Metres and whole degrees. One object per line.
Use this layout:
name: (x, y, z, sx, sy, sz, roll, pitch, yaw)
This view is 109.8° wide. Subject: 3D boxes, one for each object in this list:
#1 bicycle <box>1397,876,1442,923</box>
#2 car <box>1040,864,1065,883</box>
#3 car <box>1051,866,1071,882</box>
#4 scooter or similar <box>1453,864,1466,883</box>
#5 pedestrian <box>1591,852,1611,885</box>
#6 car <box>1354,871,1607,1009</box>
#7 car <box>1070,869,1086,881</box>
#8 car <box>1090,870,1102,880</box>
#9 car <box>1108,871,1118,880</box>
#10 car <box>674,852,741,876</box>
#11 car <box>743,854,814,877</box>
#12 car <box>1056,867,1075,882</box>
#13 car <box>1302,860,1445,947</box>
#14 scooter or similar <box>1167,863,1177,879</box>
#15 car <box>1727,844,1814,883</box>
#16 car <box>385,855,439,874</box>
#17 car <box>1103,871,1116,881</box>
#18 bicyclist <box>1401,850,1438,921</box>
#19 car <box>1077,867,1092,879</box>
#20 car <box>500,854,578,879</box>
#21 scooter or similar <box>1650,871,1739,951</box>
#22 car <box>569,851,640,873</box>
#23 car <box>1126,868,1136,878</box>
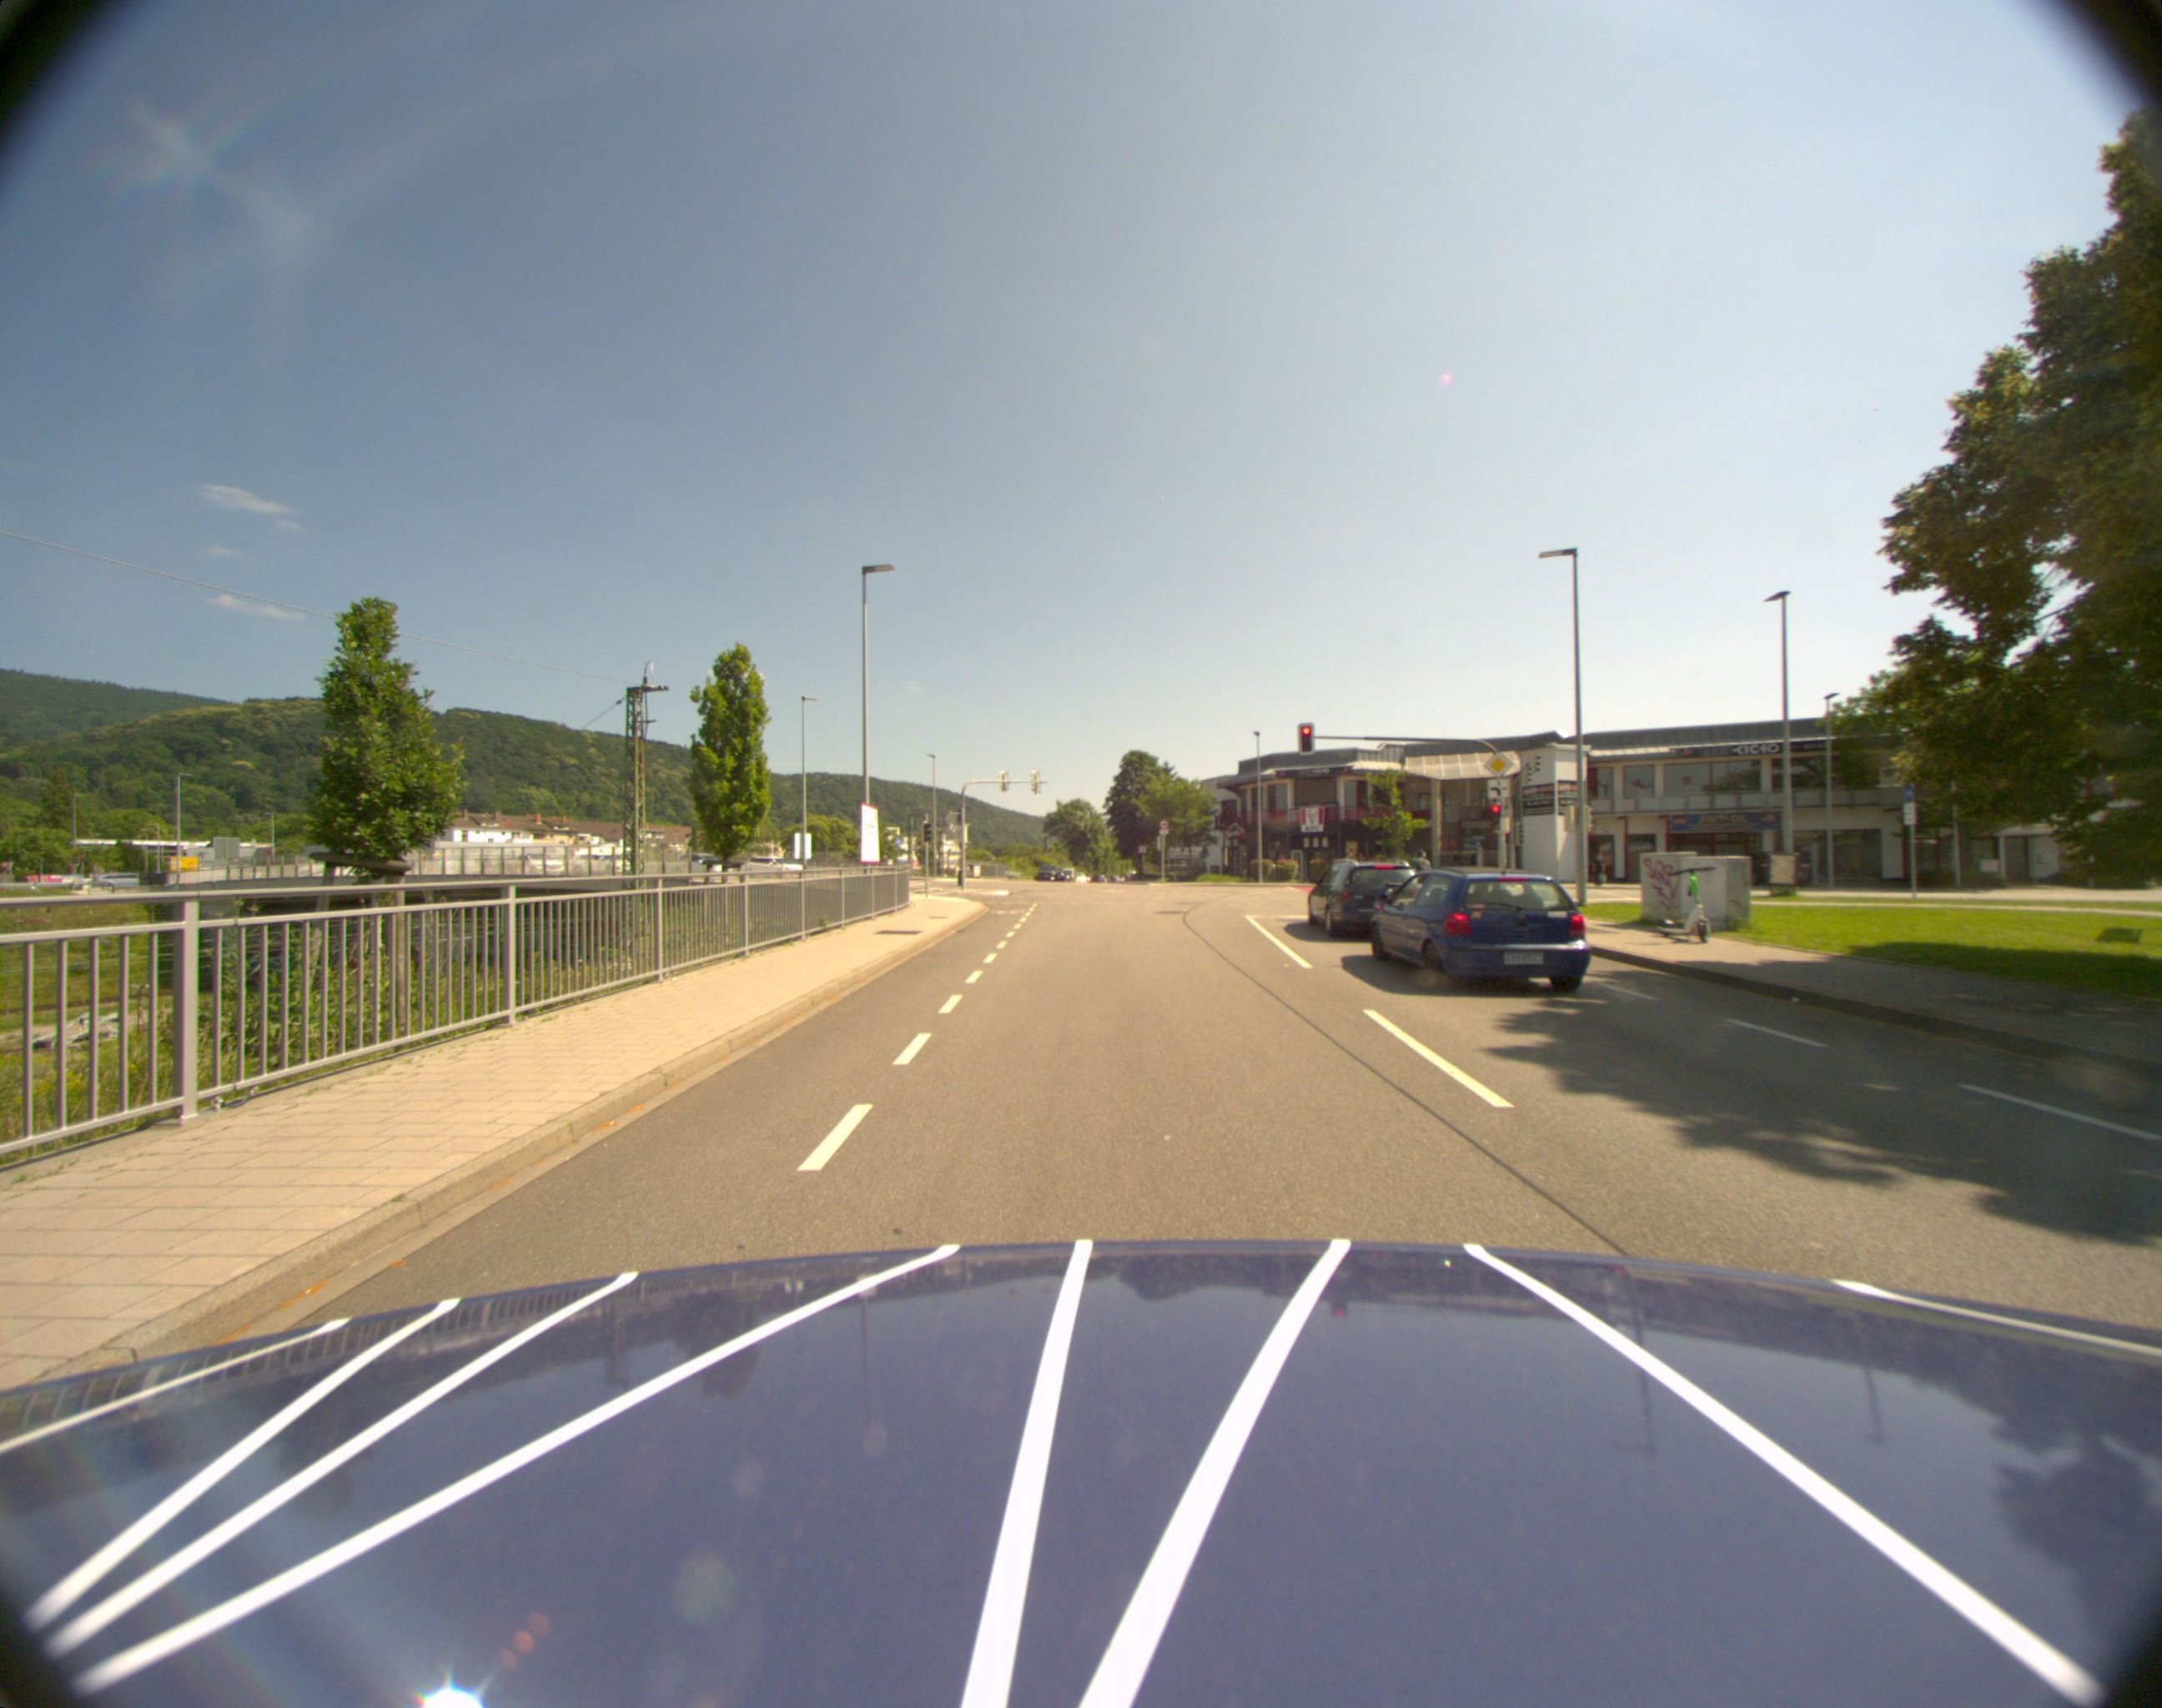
bicycle: (8.732, 1.159, 19.662, 0.698, 1.098, 1.757, 1, 0, 12)
car: (-2.642, 1.793, 70.846, 1.829, 1.617, 4.238, 0, 0, 4)
car: (-2.017, 1.970, 75.915, 1.671, 1.523, 4.001, 0, 0, 3)
scooter or similar: (21.889, 1.114, 43.920, 0.499, 1.117, 1.507, 0, 0, 32)
pedestrian: (26.504, 0.726, 38.710, 0.731, 1.636, 0.844, 0, 0, 43)
car: (4.906, 0.939, 9.979, 1.659, 1.372, 4.003, 0, 0, 8)
car: (-0.389, 2.518, 91.158, 1.671, 1.309, 4.001, 0, 0, 3)
car: (2.248, 3.133, 116.140, 1.671, 1.427, 4.001, 0, 0, 3)
car: (5.559, 3.758, 133.283, 1.671, 1.523, 4.001, 0, 0, 3)
car: (-26.021, 0.685, 52.903, 4.431, 1.617, 1.740, 0, 0, 23)
car: (-19.922, 0.778, 50.021, 4.399, 1.461, 1.740, 0, 0, 23)
car: (-1.658, 2.132, 80.667, 1.671, 1.523, 4.001, -1, 0, 3)
car: (5.764, 0.880, 15.589, 1.783, 1.487, 4.726, 0, 0, 9)
scooter or similar: (6.555, 1.204, 54.664, 0.426, 1.117, 1.453, 0, 0, 18)
car: (34.761, 0.478, 38.467, 1.804, 1.844, 4.667, 0, 0, 23)
car: (-59.478, 0.921, 67.564, 4.432, 1.617, 1.739, -1, 0, 21)
car: (4.777, 3.640, 127.149, 1.671, 1.523, 4.002, -4, -1, 6)
bicyclist: (8.721, 0.800, 19.588, 0.711, 1.778, 0.810, 0, 0, 12)
car: (0.482, 2.447, 98.543, 1.671, 1.523, 4.001, -2, 0, 3)
car: (-38.116, 0.901, 53.447, 4.624, 1.709, 2.003, 0, 0, 15)
scooter or similar: (9.798, 0.880, 12.181, 0.472, 1.177, 1.366, 0, 0, 8)
car: (-35.143, 0.605, 56.108, 4.435, 1.617, 1.738, 0, 0, 11)
car: (9.847, 3.758, 149.410, 1.671, 1.718, 4.002, -4, -1, 6)
